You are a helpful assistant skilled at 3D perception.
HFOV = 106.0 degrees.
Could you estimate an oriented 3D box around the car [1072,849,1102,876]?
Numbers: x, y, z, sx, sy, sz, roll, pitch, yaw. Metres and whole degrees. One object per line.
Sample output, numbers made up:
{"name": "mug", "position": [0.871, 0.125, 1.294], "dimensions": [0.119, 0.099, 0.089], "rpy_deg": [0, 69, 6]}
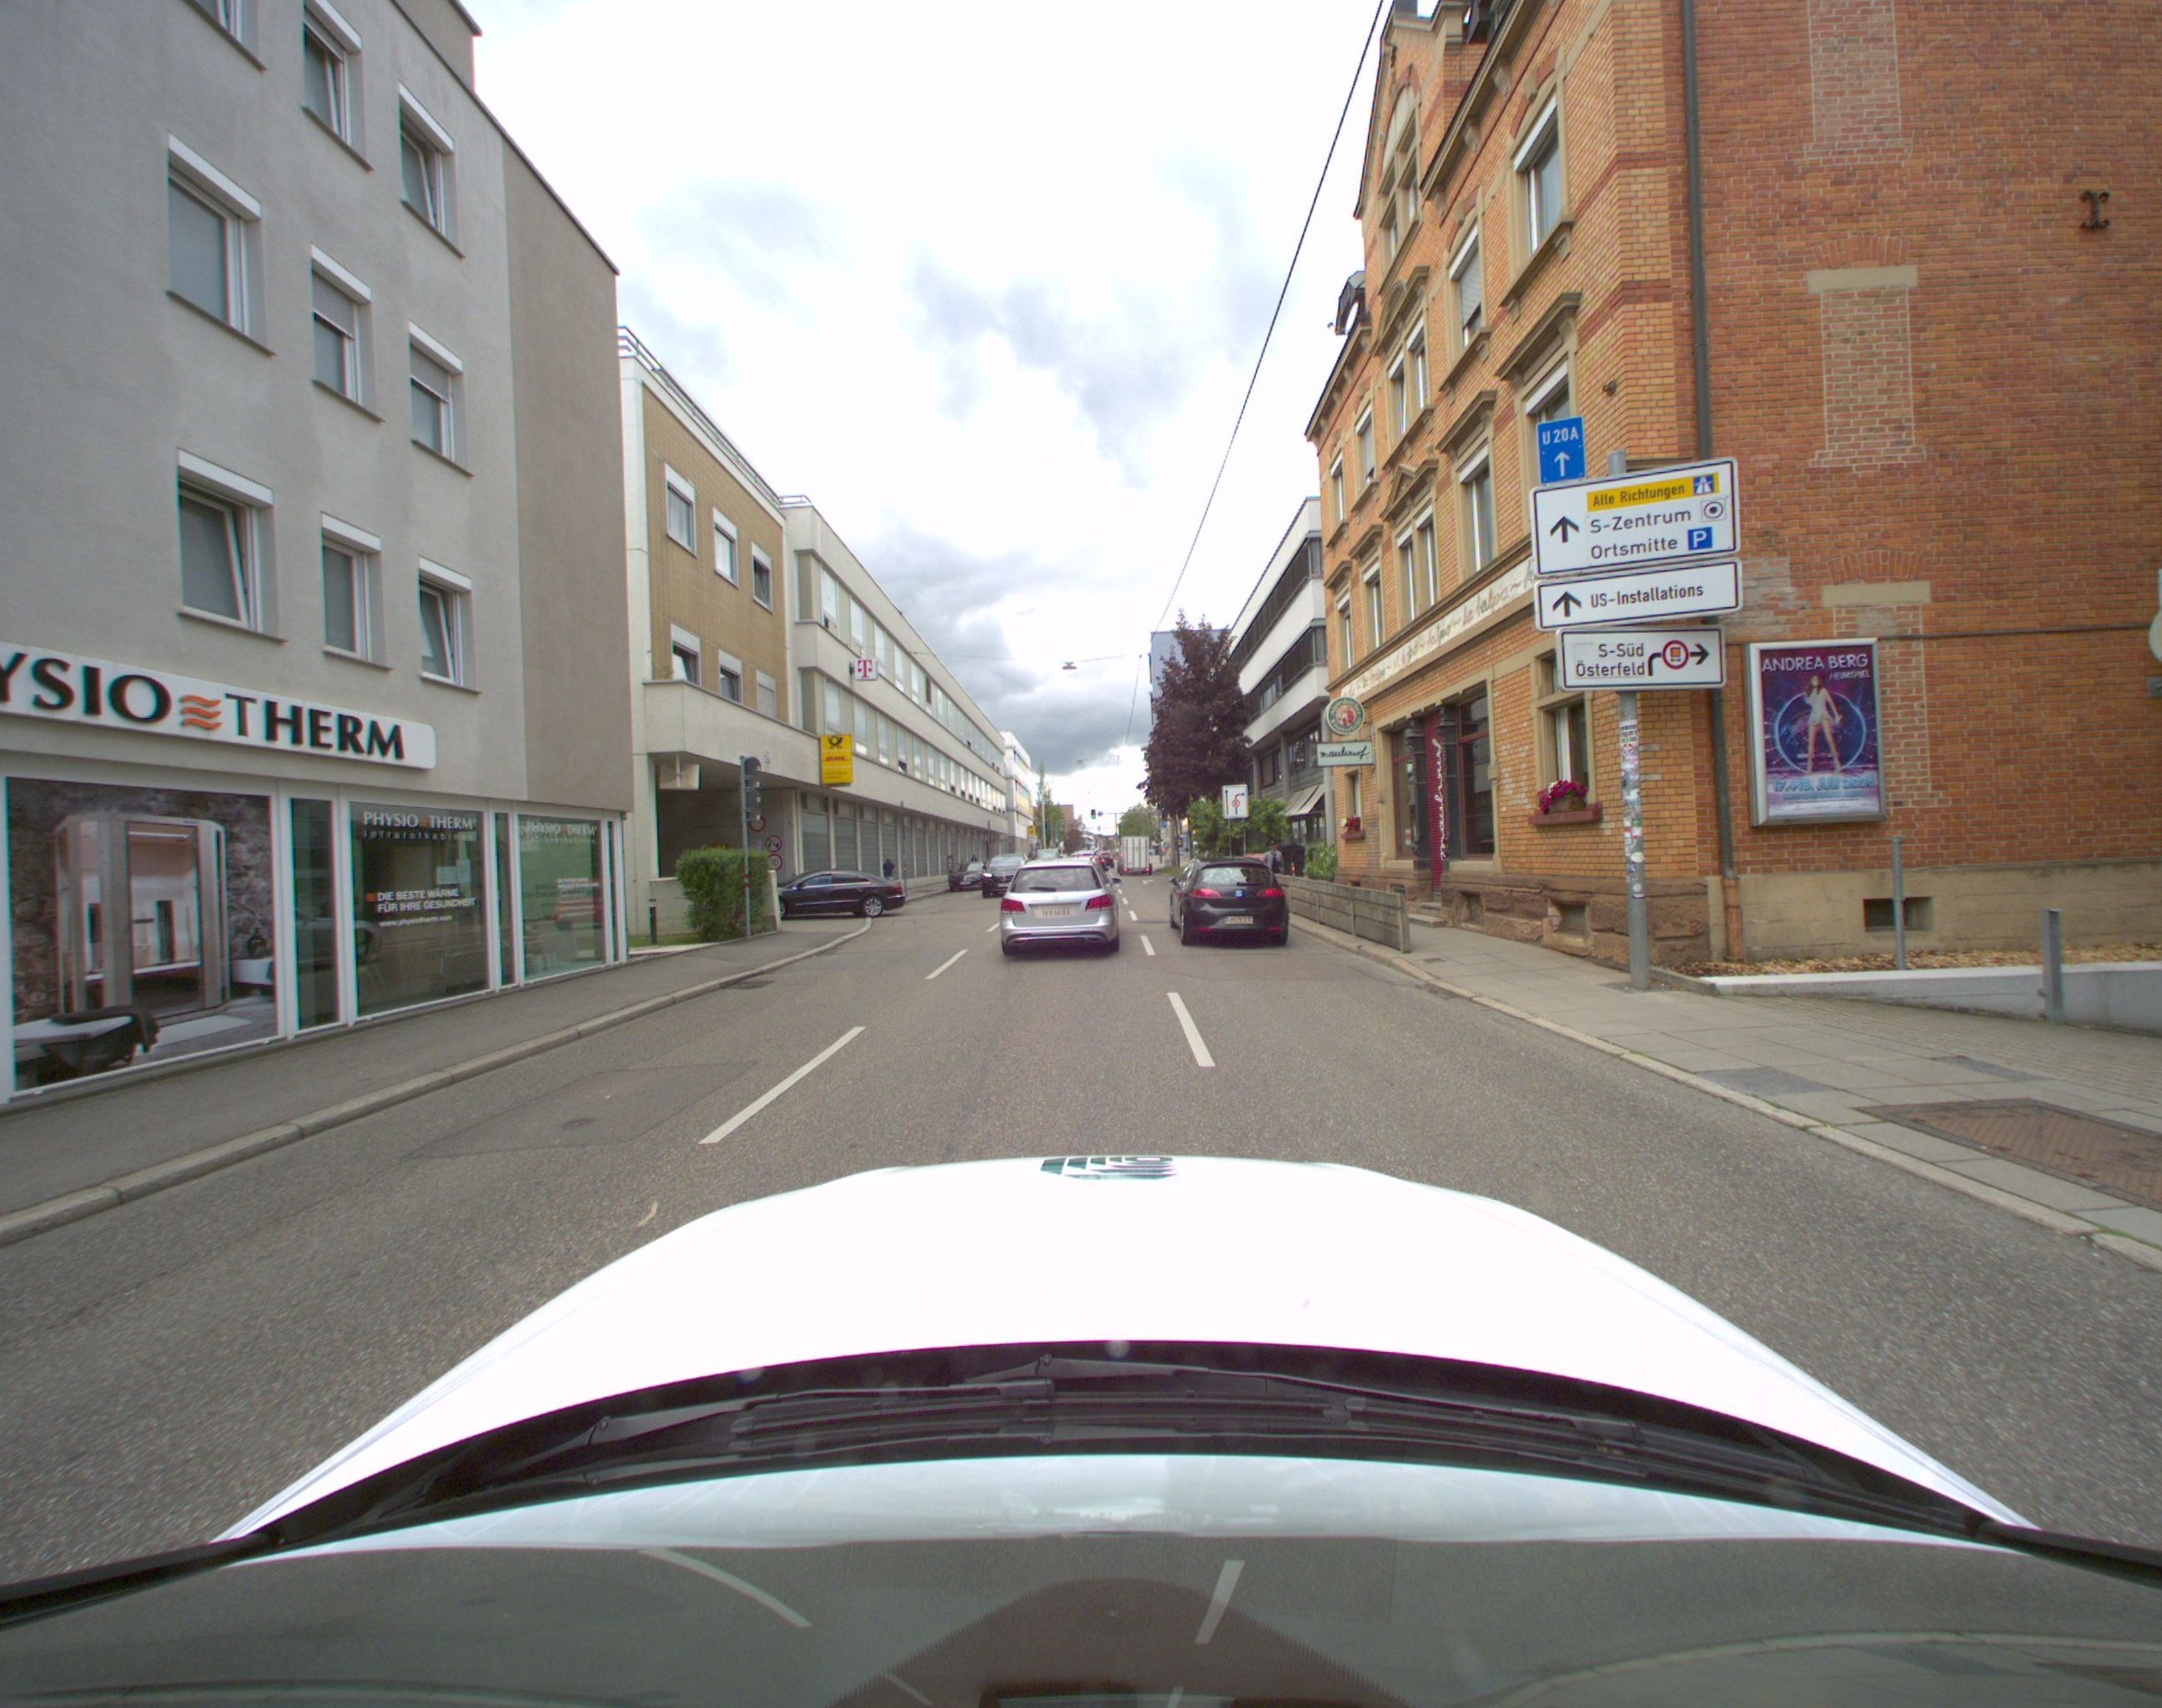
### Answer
{"name": "car", "position": [0.370, 0.530, 51.665], "dimensions": [1.797, 1.601, 3.738], "rpy_deg": [-1, 0, 1]}

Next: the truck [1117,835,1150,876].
{"name": "truck", "position": [3.560, 0.103, 55.879], "dimensions": [1.987, 2.607, 3.260], "rpy_deg": [-2, 0, 1]}

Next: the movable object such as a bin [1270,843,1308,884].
{"name": "movable object such as a bin", "position": [7.912, 0.360, 31.028], "dimensions": [0.940, 1.470, 1.445], "rpy_deg": [-4, 0, -1]}

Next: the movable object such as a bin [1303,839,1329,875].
{"name": "movable object such as a bin", "position": [10.150, 0.140, 35.140], "dimensions": [0.818, 1.504, 0.732], "rpy_deg": [-5, -1, 2]}

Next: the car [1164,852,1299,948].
{"name": "car", "position": [2.548, 0.714, 14.630], "dimensions": [1.759, 1.433, 3.829], "rpy_deg": [-2, 0, 1]}

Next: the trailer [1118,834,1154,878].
{"name": "trailer", "position": [3.515, 0.117, 53.089], "dimensions": [1.987, 2.607, 5.350], "rpy_deg": [-2, 0, 1]}

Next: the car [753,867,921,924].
{"name": "car", "position": [-7.099, 1.147, 23.790], "dimensions": [4.424, 1.365, 1.769], "rpy_deg": [-2, 0, -28]}

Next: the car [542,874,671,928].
{"name": "car", "position": [-14.655, 1.411, 25.419], "dimensions": [1.747, 1.457, 3.692], "rpy_deg": [-1, 0, 2]}

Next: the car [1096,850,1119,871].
{"name": "car", "position": [2.100, 0.506, 65.261], "dimensions": [1.797, 1.601, 3.738], "rpy_deg": [-1, 0, 1]}

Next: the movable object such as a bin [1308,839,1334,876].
{"name": "movable object such as a bin", "position": [10.124, 0.139, 34.383], "dimensions": [0.818, 1.490, 0.732], "rpy_deg": [-5, -1, 2]}

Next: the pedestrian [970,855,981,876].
{"name": "pedestrian", "position": [-8.023, 0.867, 61.756], "dimensions": [0.653, 1.623, 0.681], "rpy_deg": [-2, 0, 2]}

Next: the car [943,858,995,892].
{"name": "car", "position": [-5.617, 1.025, 41.234], "dimensions": [1.906, 1.516, 4.175], "rpy_deg": [-3, 0, 1]}

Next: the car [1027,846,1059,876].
{"name": "car", "position": [-2.812, 0.506, 61.147], "dimensions": [1.987, 2.013, 4.903], "rpy_deg": [-4, 0, 1]}

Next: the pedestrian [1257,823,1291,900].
{"name": "pedestrian", "position": [5.158, 0.205, 21.816], "dimensions": [0.691, 2.013, 0.676], "rpy_deg": [-2, 0, 0]}

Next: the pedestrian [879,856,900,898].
{"name": "pedestrian", "position": [-8.284, 0.985, 35.275], "dimensions": [0.640, 1.769, 0.810], "rpy_deg": [-2, 0, 0]}

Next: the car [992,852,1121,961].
{"name": "car", "position": [-0.320, 0.749, 13.559], "dimensions": [1.797, 1.492, 3.738], "rpy_deg": [-2, 0, 1]}

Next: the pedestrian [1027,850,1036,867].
{"name": "pedestrian", "position": [-5.489, 0.507, 90.779], "dimensions": [0.915, 1.869, 0.783], "rpy_deg": [-2, 0, 0]}

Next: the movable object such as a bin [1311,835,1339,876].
{"name": "movable object such as a bin", "position": [10.070, 0.072, 33.629], "dimensions": [0.818, 1.589, 0.732], "rpy_deg": [-5, -1, 2]}

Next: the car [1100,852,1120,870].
{"name": "car", "position": [2.744, 0.668, 77.929], "dimensions": [1.797, 1.601, 3.738], "rpy_deg": [-1, 0, 1]}

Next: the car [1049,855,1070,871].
{"name": "car", "position": [-2.082, 0.888, 80.596], "dimensions": [1.763, 1.413, 4.175], "rpy_deg": [-4, 0, 1]}

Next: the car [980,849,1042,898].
{"name": "car", "position": [-2.805, 0.736, 33.527], "dimensions": [1.987, 1.738, 4.554], "rpy_deg": [-4, 0, 1]}

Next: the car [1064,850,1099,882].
{"name": "car", "position": [0.050, 0.626, 43.938], "dimensions": [1.797, 1.601, 3.738], "rpy_deg": [-1, 0, 1]}

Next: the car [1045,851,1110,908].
{"name": "car", "position": [-0.063, 0.731, 25.124], "dimensions": [1.797, 1.553, 3.738], "rpy_deg": [-2, 0, 1]}
